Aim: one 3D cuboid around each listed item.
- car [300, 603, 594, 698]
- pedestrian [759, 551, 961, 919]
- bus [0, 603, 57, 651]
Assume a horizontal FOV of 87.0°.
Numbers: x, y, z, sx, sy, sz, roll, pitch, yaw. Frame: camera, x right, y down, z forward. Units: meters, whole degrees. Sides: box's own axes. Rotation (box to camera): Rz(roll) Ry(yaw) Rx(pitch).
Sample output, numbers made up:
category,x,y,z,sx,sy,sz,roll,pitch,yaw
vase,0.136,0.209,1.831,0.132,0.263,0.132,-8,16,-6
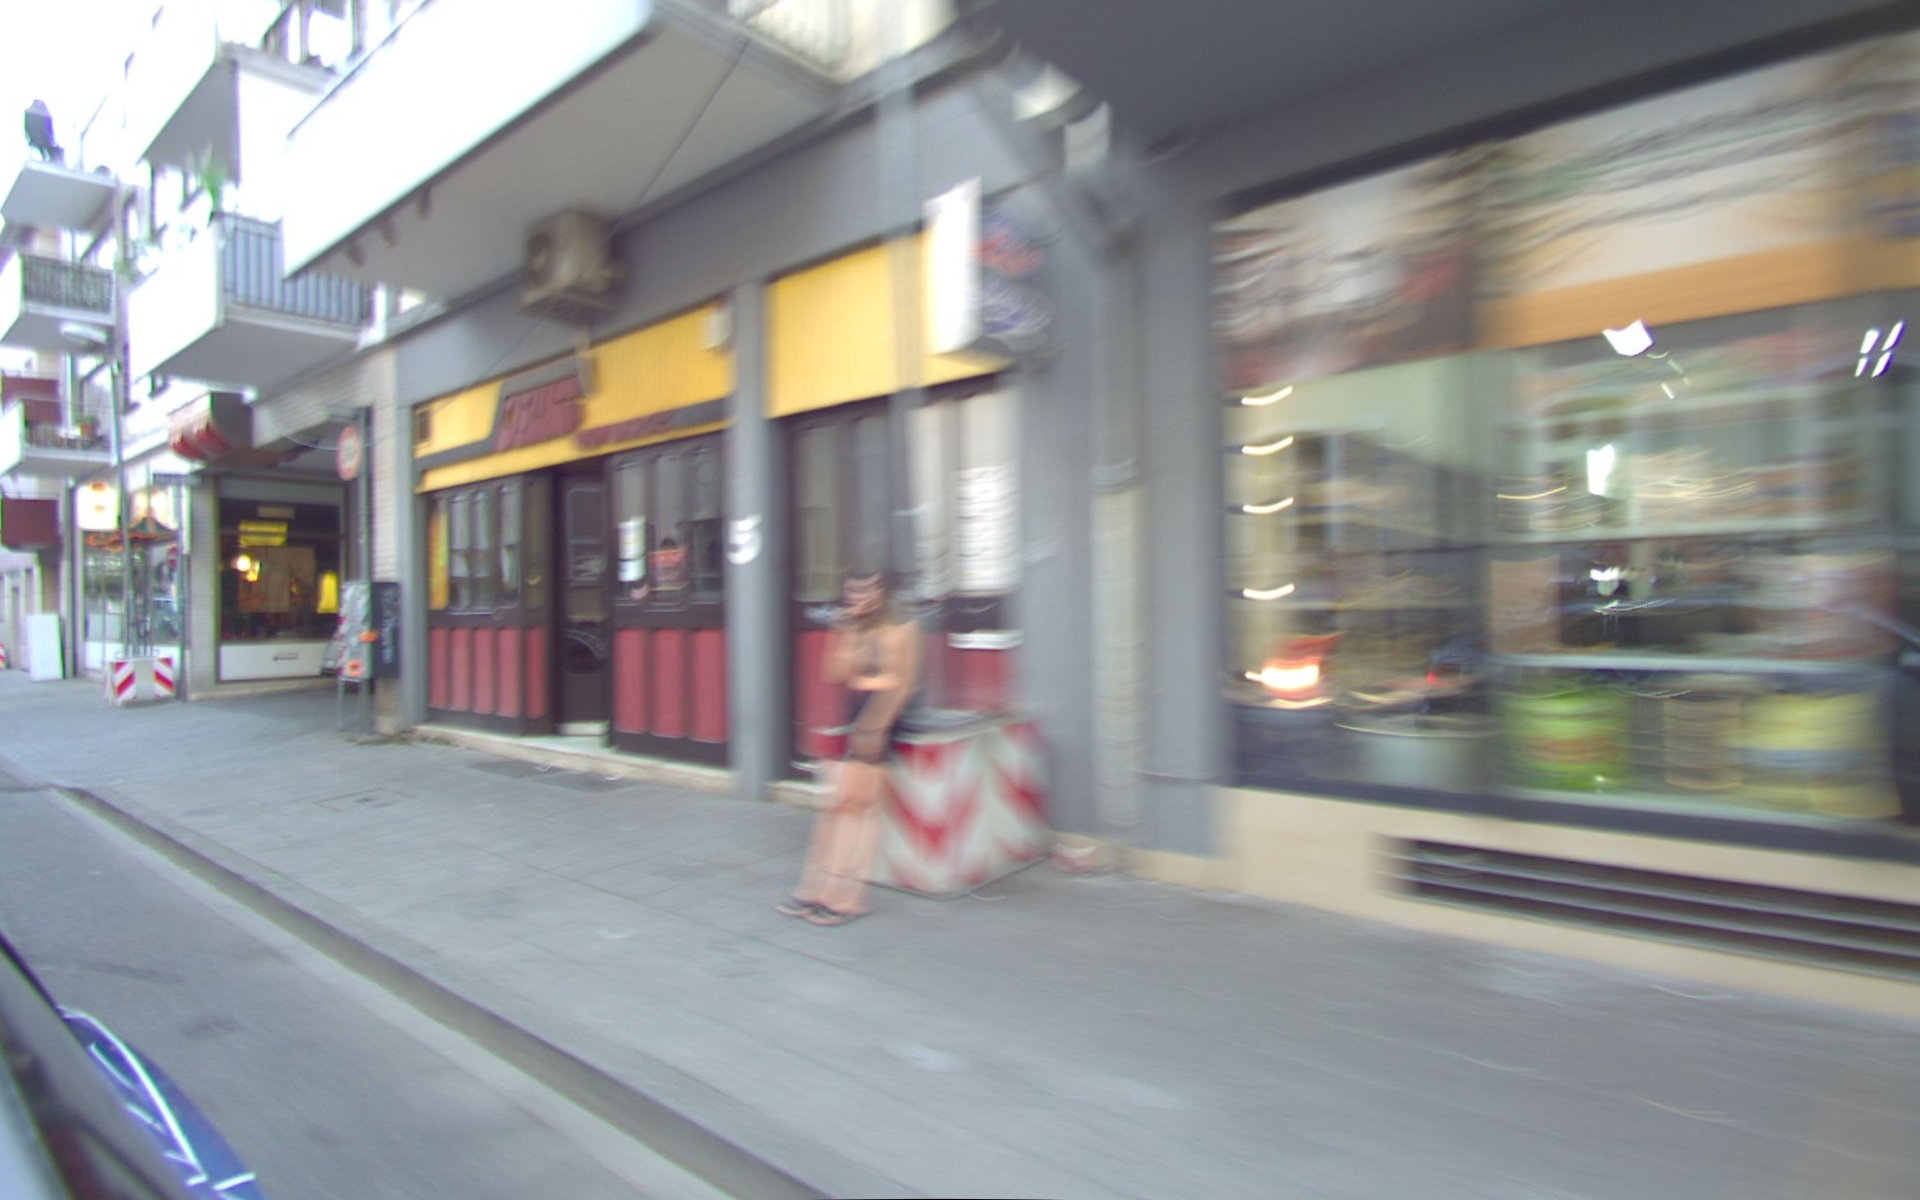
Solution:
category,x,y,z,sx,sy,sz,roll,pitch,yaw
car,-9.309,0.844,18.650,2.068,1.474,4.388,-1,0,39
pedestrian,-0.465,0.578,4.829,0.612,1.590,0.702,-1,1,37
bus,-70.790,1.865,69.613,3.906,3.350,12.418,0,-1,27
